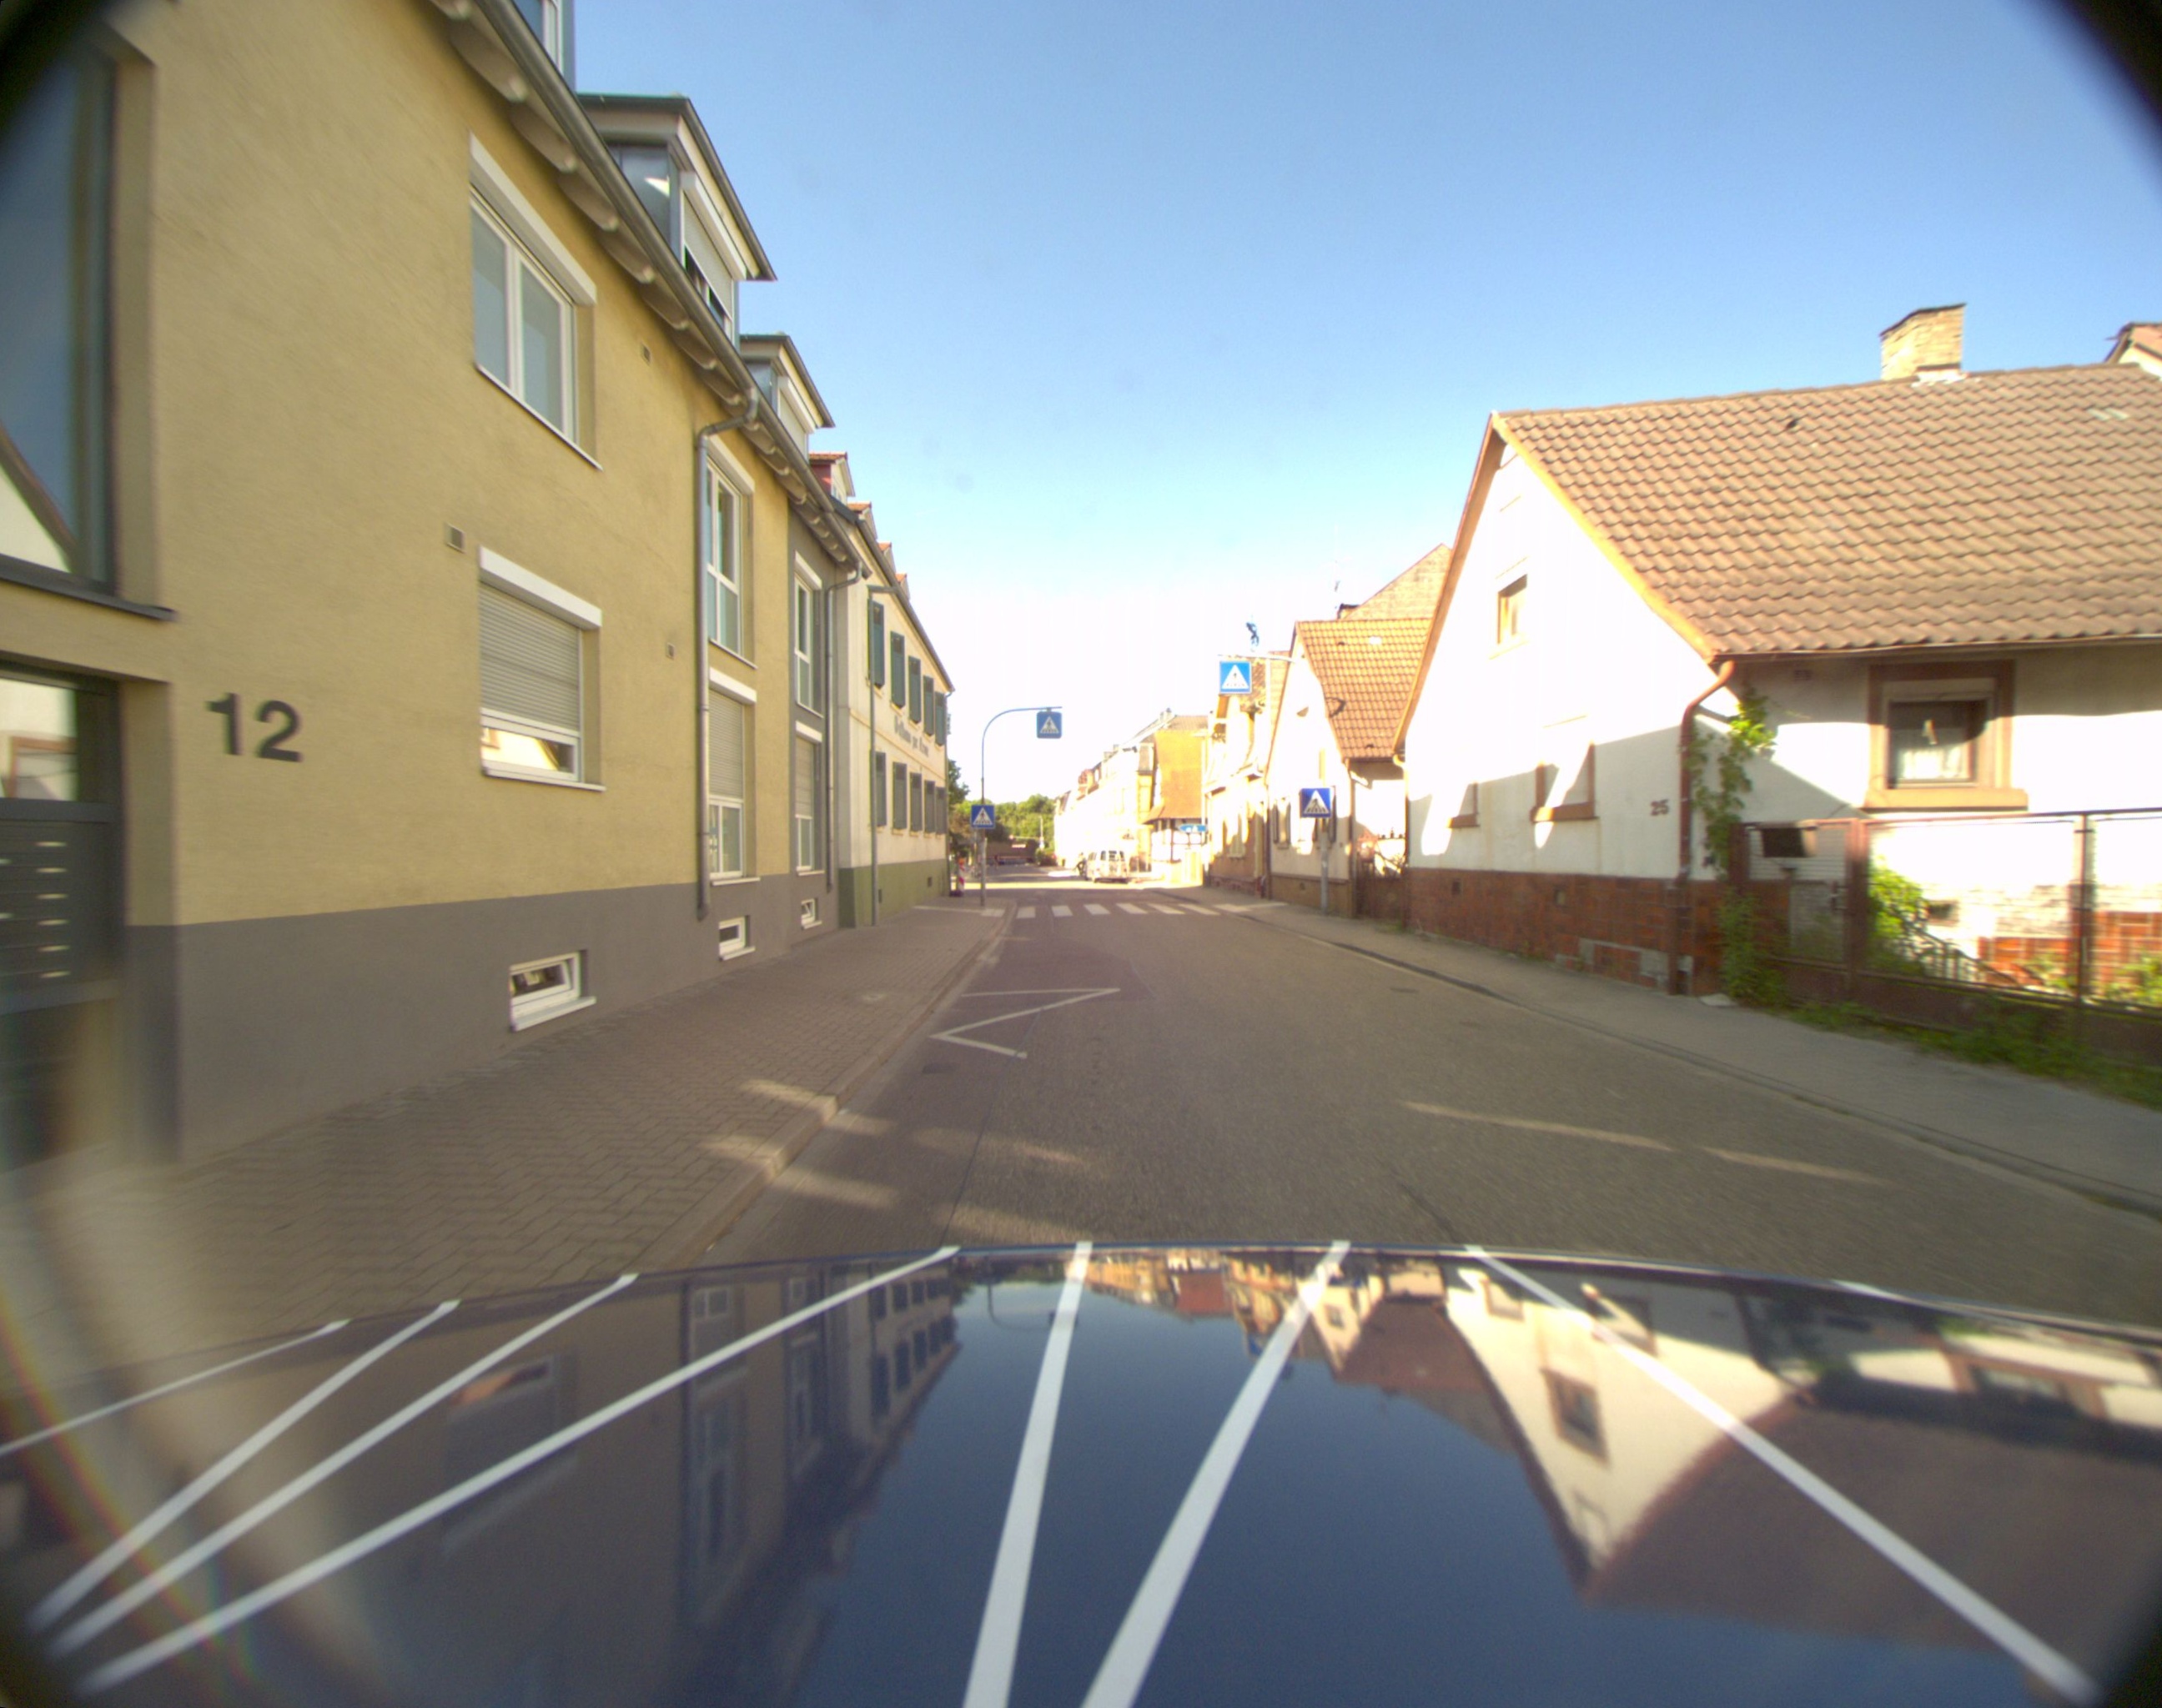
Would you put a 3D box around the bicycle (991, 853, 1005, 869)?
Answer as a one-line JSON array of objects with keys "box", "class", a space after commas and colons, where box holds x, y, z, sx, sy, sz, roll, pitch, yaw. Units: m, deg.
[{"box": [-8.988, 0.710, 82.611, 1.257, 1.543, 3.998, -3, 1, -4], "class": "bicycle"}]

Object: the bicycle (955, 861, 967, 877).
[{"box": [-8.416, 1.036, 53.341, 0.669, 1.058, 1.816, 3, 1, -3], "class": "bicycle"}]

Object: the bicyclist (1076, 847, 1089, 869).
[{"box": [0.111, 0.279, 52.413, 0.656, 1.524, 0.609, -4, 2, -27], "class": "bicyclist"}]

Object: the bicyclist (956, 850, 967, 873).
[{"box": [-8.386, 0.536, 53.367, 0.669, 1.530, 0.914, 3, 1, -3], "class": "bicyclist"}]

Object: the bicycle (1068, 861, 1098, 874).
[{"box": [0.136, 0.908, 52.423, 1.915, 0.774, 0.623, -4, 2, -28], "class": "bicycle"}]

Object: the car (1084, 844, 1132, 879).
[{"box": [1.472, 0.379, 43.205, 1.881, 1.870, 4.831, 0, 1, -9], "class": "car"}]

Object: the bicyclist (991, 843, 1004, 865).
[{"box": [-9.052, -0.019, 82.674, 1.257, 2.295, 1.242, -3, 2, -4], "class": "bicyclist"}]
